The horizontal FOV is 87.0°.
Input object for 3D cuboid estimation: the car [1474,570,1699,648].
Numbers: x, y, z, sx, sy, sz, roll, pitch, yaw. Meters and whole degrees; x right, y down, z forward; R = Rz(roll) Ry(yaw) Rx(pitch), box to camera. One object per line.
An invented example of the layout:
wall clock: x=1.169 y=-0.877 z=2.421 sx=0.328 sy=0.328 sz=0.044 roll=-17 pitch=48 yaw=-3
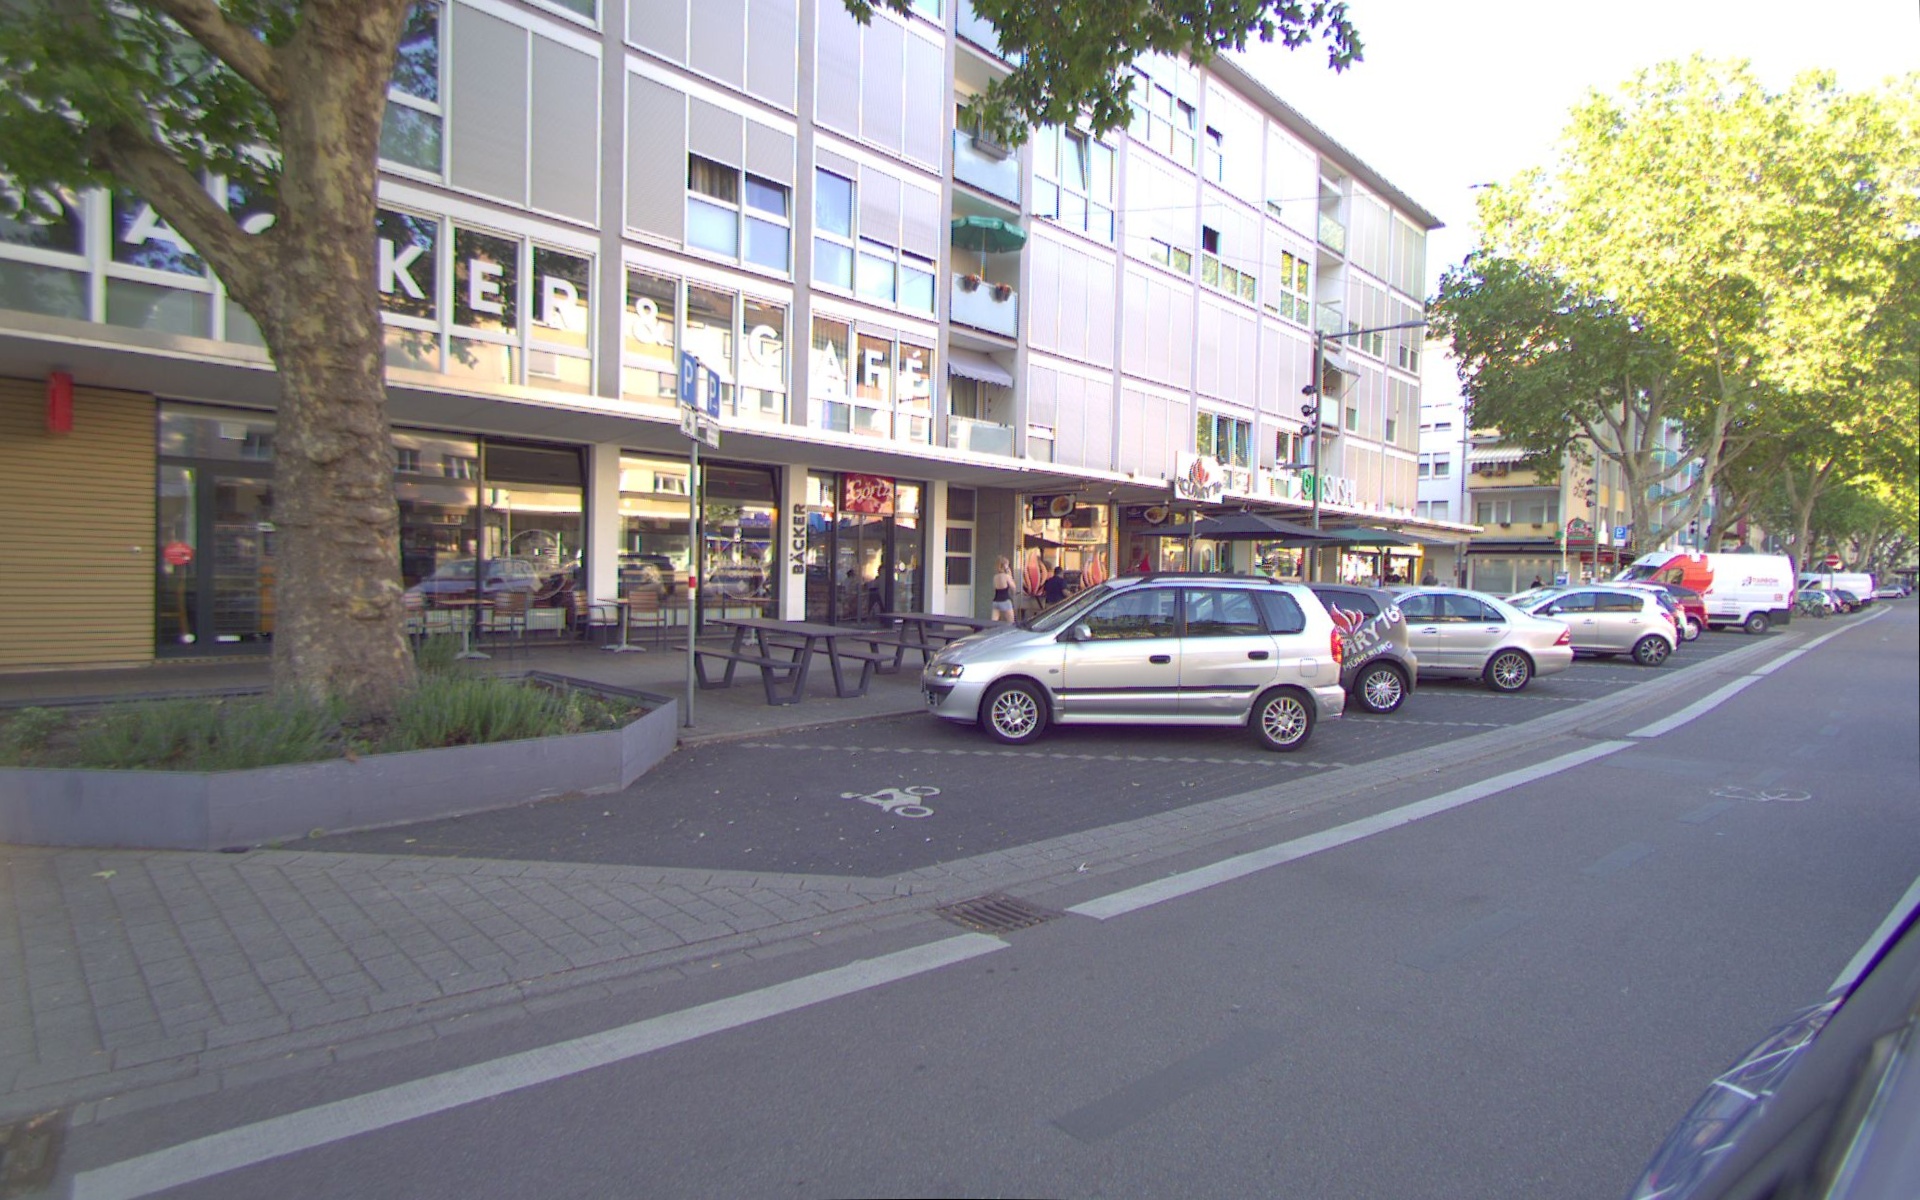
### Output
car: x=13.950 y=0.148 z=22.770 sx=3.886 sy=1.446 sz=1.670 roll=3 pitch=3 yaw=16

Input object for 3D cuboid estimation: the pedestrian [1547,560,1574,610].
pedestrian: x=24.694 y=-0.627 z=41.604 sx=0.746 sy=2.038 sz=0.752 roll=3 pitch=2 yaw=45

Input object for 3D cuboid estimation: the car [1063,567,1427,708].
car: x=3.331 y=0.404 z=12.320 sx=3.864 sy=1.446 sz=1.679 roll=2 pitch=3 yaw=-3

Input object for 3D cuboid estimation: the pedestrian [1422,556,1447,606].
pedestrian: x=19.630 y=-0.781 z=41.835 sx=0.746 sy=2.038 sz=0.550 roll=3 pitch=2 yaw=45

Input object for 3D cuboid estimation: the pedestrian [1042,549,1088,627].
pedestrian: x=2.222 y=-0.263 z=21.402 sx=0.757 sy=1.602 sz=0.583 roll=0 pitch=2 yaw=-39

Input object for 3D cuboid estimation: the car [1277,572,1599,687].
car: x=6.872 y=0.388 z=14.831 sx=3.867 sy=1.418 sz=1.598 roll=2 pitch=3 yaw=1

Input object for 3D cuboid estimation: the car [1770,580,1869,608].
car: x=48.081 y=-0.357 z=56.641 sx=3.864 sy=1.422 sz=1.782 roll=1 pitch=2 yaw=3

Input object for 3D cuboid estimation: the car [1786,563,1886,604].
car: x=56.419 y=-1.086 z=65.222 sx=4.512 sy=2.499 sz=1.977 roll=1 pitch=2 yaw=3

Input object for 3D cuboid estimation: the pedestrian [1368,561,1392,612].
pedestrian: x=13.816 y=-0.462 z=33.292 sx=0.536 sy=1.660 sz=0.470 roll=2 pitch=2 yaw=45

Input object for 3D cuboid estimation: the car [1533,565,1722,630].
car: x=18.077 y=-0.108 z=27.621 sx=3.889 sy=1.445 sz=1.669 roll=4 pitch=5 yaw=18

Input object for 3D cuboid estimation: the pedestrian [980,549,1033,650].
pedestrian: x=0.758 y=-0.028 z=16.438 sx=0.559 sy=1.596 sz=0.632 roll=2 pitch=2 yaw=44

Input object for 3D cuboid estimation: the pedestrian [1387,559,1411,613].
pedestrian: x=14.250 y=-0.465 z=32.854 sx=0.544 sy=1.741 sz=0.450 roll=2 pitch=2 yaw=45

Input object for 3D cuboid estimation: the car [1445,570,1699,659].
car: x=11.861 y=0.239 z=19.807 sx=3.871 sy=1.446 sz=1.559 roll=3 pitch=3 yaw=4

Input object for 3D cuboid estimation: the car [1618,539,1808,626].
car: x=23.746 y=-0.554 z=32.064 sx=4.514 sy=2.525 sz=1.675 roll=2 pitch=1 yaw=5

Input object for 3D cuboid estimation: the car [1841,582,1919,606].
car: x=56.303 y=-0.381 z=61.488 sx=3.864 sy=1.350 sz=1.782 roll=1 pitch=2 yaw=3

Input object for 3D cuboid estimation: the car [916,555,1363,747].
car: x=1.561 y=0.425 z=9.788 sx=3.906 sy=1.560 sz=1.679 roll=2 pitch=3 yaw=-3

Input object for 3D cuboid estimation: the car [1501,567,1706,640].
car: x=15.915 y=0.042 z=25.240 sx=3.888 sy=1.445 sz=1.669 roll=4 pitch=5 yaw=17

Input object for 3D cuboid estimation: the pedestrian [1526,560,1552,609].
pedestrian: x=24.174 y=-0.657 z=42.250 sx=0.746 sy=2.000 sz=0.566 roll=3 pitch=2 yaw=45
